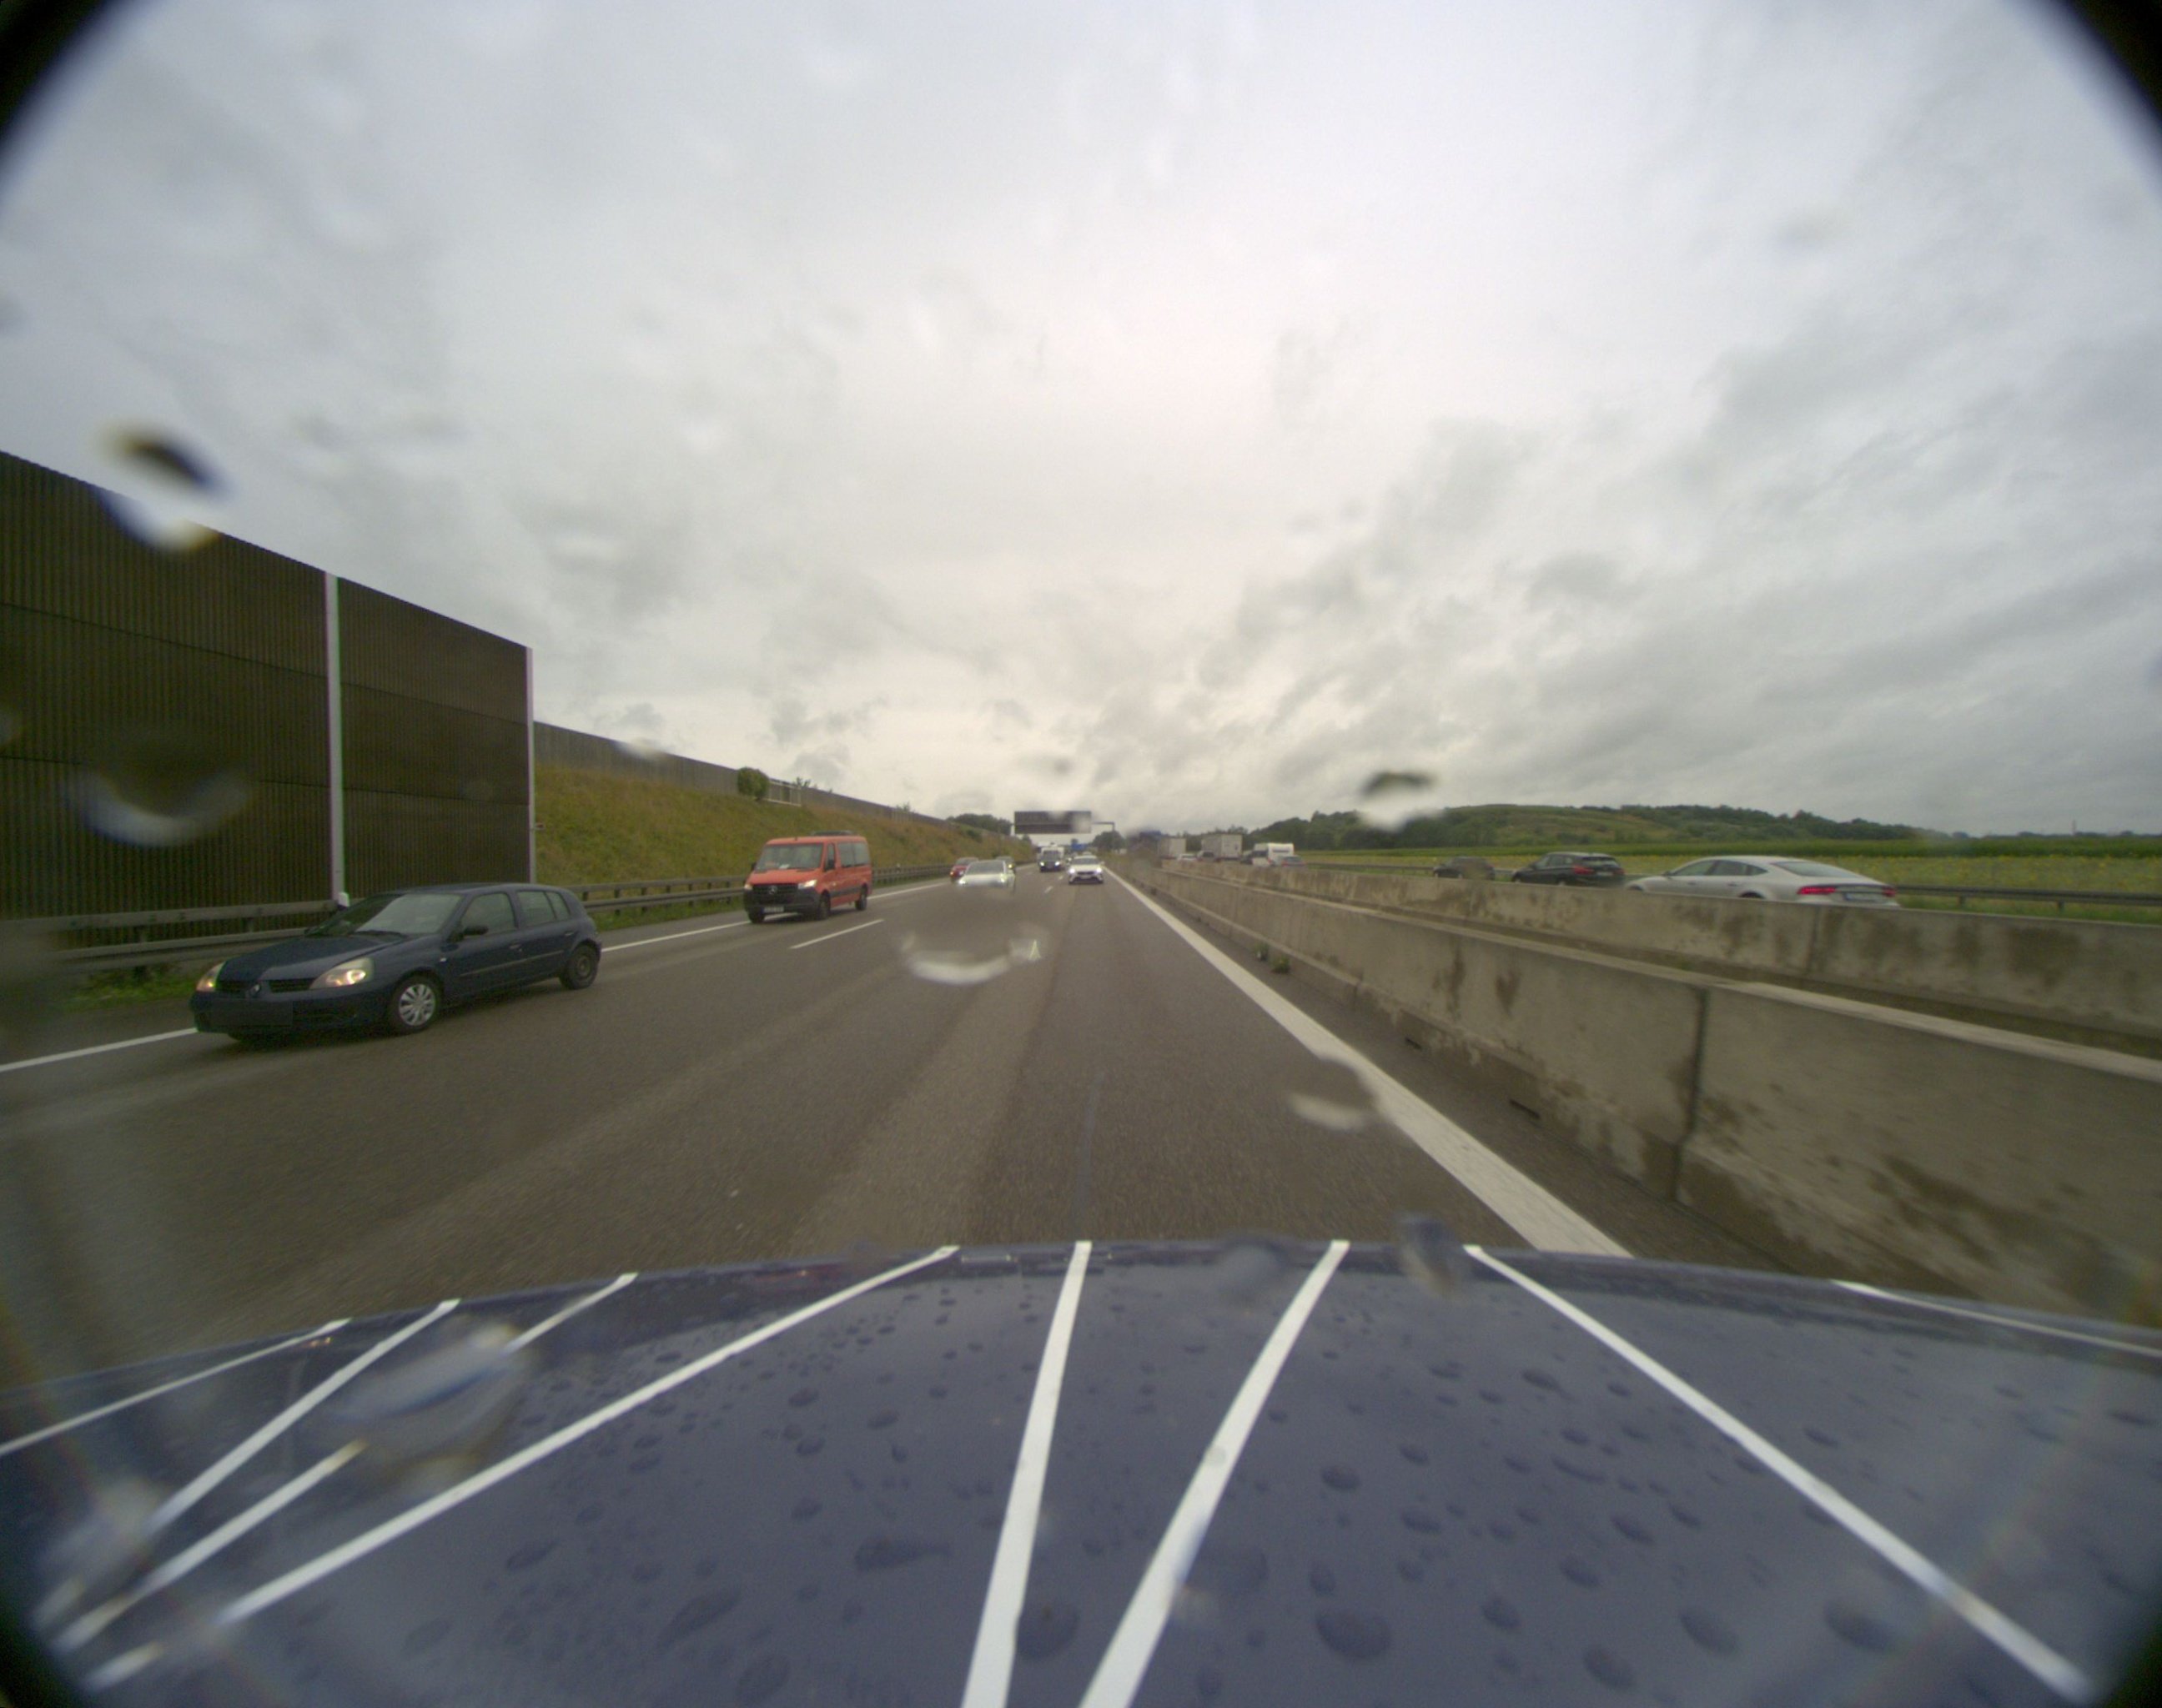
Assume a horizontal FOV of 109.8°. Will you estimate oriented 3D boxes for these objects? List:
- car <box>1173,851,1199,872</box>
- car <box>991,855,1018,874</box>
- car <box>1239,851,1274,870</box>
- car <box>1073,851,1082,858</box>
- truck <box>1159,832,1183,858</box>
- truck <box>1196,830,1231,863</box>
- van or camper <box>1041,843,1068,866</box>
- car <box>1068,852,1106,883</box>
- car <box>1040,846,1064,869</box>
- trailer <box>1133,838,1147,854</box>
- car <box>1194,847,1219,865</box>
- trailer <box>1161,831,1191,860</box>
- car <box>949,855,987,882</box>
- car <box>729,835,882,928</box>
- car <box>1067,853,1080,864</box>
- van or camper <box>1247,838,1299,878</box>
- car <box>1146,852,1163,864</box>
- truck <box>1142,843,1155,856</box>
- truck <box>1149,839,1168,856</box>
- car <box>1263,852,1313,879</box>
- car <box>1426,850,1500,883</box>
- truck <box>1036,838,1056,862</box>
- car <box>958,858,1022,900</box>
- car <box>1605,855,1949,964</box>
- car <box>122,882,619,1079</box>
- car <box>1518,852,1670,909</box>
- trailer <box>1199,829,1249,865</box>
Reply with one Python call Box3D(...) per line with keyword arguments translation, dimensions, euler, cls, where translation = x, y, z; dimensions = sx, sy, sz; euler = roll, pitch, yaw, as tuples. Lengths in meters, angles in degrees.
Box3D(translation=(9.833, 0.701, 71.589), dimensions=(1.888, 1.913, 4.173), euler=(-1, 0, 0), cls="car")
Box3D(translation=(-6.798, 0.926, 67.731), dimensions=(1.929, 1.480, 4.485), euler=(-3, 1, 0), cls="car")
Box3D(translation=(18.055, 0.614, 78.510), dimensions=(2.097, 1.743, 5.133), euler=(-4, 0, -3), cls="car")
Box3D(translation=(-0.879, 0.200, 198.743), dimensions=(1.998, 1.696, 3.999), euler=(-3, 1, 1), cls="car")
Box3D(translation=(14.679, -1.535, 124.424), dimensions=(3.100, 3.953, 6.371), euler=(-3, 1, 1), cls="truck")
Box3D(translation=(18.646, -1.064, 107.251), dimensions=(3.624, 4.250, 7.590), euler=(-3, 1, 1), cls="truck")
Box3D(translation=(-2.680, 0.005, 79.359), dimensions=(2.432, 2.139, 6.497), euler=(-3, 1, 1), cls="van or camper")
Box3D(translation=(0.321, 0.702, 40.700), dimensions=(1.841, 1.455, 3.999), euler=(-3, 1, 1), cls="car")
Box3D(translation=(-2.768, 0.282, 73.814), dimensions=(1.998, 2.002, 4.937), euler=(-3, 1, 1), cls="car")
Box3D(translation=(19.219, -2.535, 247.248), dimensions=(3.396, 4.741, 11.679), euler=(-3, 0, 0), cls="trailer")
Box3D(translation=(13.998, 0.190, 85.108), dimensions=(1.888, 1.913, 5.277), euler=(-1, 0, 0), cls="car")
Box3D(translation=(14.557, -1.380, 116.825), dimensions=(3.093, 4.065, 12.328), euler=(-3, 1, 1), cls="trailer")
Box3D(translation=(-7.394, 0.912, 50.133), dimensions=(1.878, 1.526, 3.999), euler=(-3, 1, 0), cls="car")
Box3D(translation=(-7.784, 0.679, 22.334), dimensions=(2.091, 2.302, 6.181), euler=(-2, 0, 1), cls="car")
Box3D(translation=(-1.311, 0.759, 124.216), dimensions=(1.999, 1.759, 3.999), euler=(-1, 0, -2), cls="car")
Box3D(translation=(18.190, 0.325, 72.491), dimensions=(2.716, 3.483, 7.698), euler=(-3, 1, -1), cls="van or camper")
Box3D(translation=(10.848, 0.528, 112.077), dimensions=(1.998, 1.754, 5.071), euler=(-1, 0, 1), cls="car")
Box3D(translation=(15.711, -1.122, 176.912), dimensions=(2.317, 2.892, 7.423), euler=(-3, 1, 1), cls="truck")
Box3D(translation=(21.014, -1.751, 206.700), dimensions=(3.521, 4.458, 11.784), euler=(-3, 1, -1), cls="truck")
Box3D(translation=(13.887, 0.724, 51.254), dimensions=(2.066, 1.700, 4.799), euler=(-2, 0, 0), cls="car")
Box3D(translation=(20.635, 0.617, 41.239), dimensions=(1.889, 1.586, 3.999), euler=(-3, 1, -1), cls="car")
Box3D(translation=(-6.264, -0.800, 136.420), dimensions=(3.090, 4.003, 6.955), euler=(-3, 1, -1), cls="truck")
Box3D(translation=(-3.520, 0.931, 30.134), dimensions=(1.878, 1.355, 4.812), euler=(-3, 1, 0), cls="car")
Box3D(translation=(13.308, 0.925, 15.155), dimensions=(2.099, 1.700, 5.164), euler=(-2, 0, 0), cls="car")
Box3D(translation=(-7.203, 1.148, 8.381), dimensions=(1.706, 1.393, 3.875), euler=(-3, 1, 1), cls="car")
Box3D(translation=(17.540, 0.833, 26.325), dimensions=(2.098, 1.700, 4.800), euler=(-2, 0, 2), cls="car")
Box3D(translation=(18.512, -0.950, 99.737), dimensions=(3.722, 4.247, 15.622), euler=(-3, 1, 1), cls="trailer")
